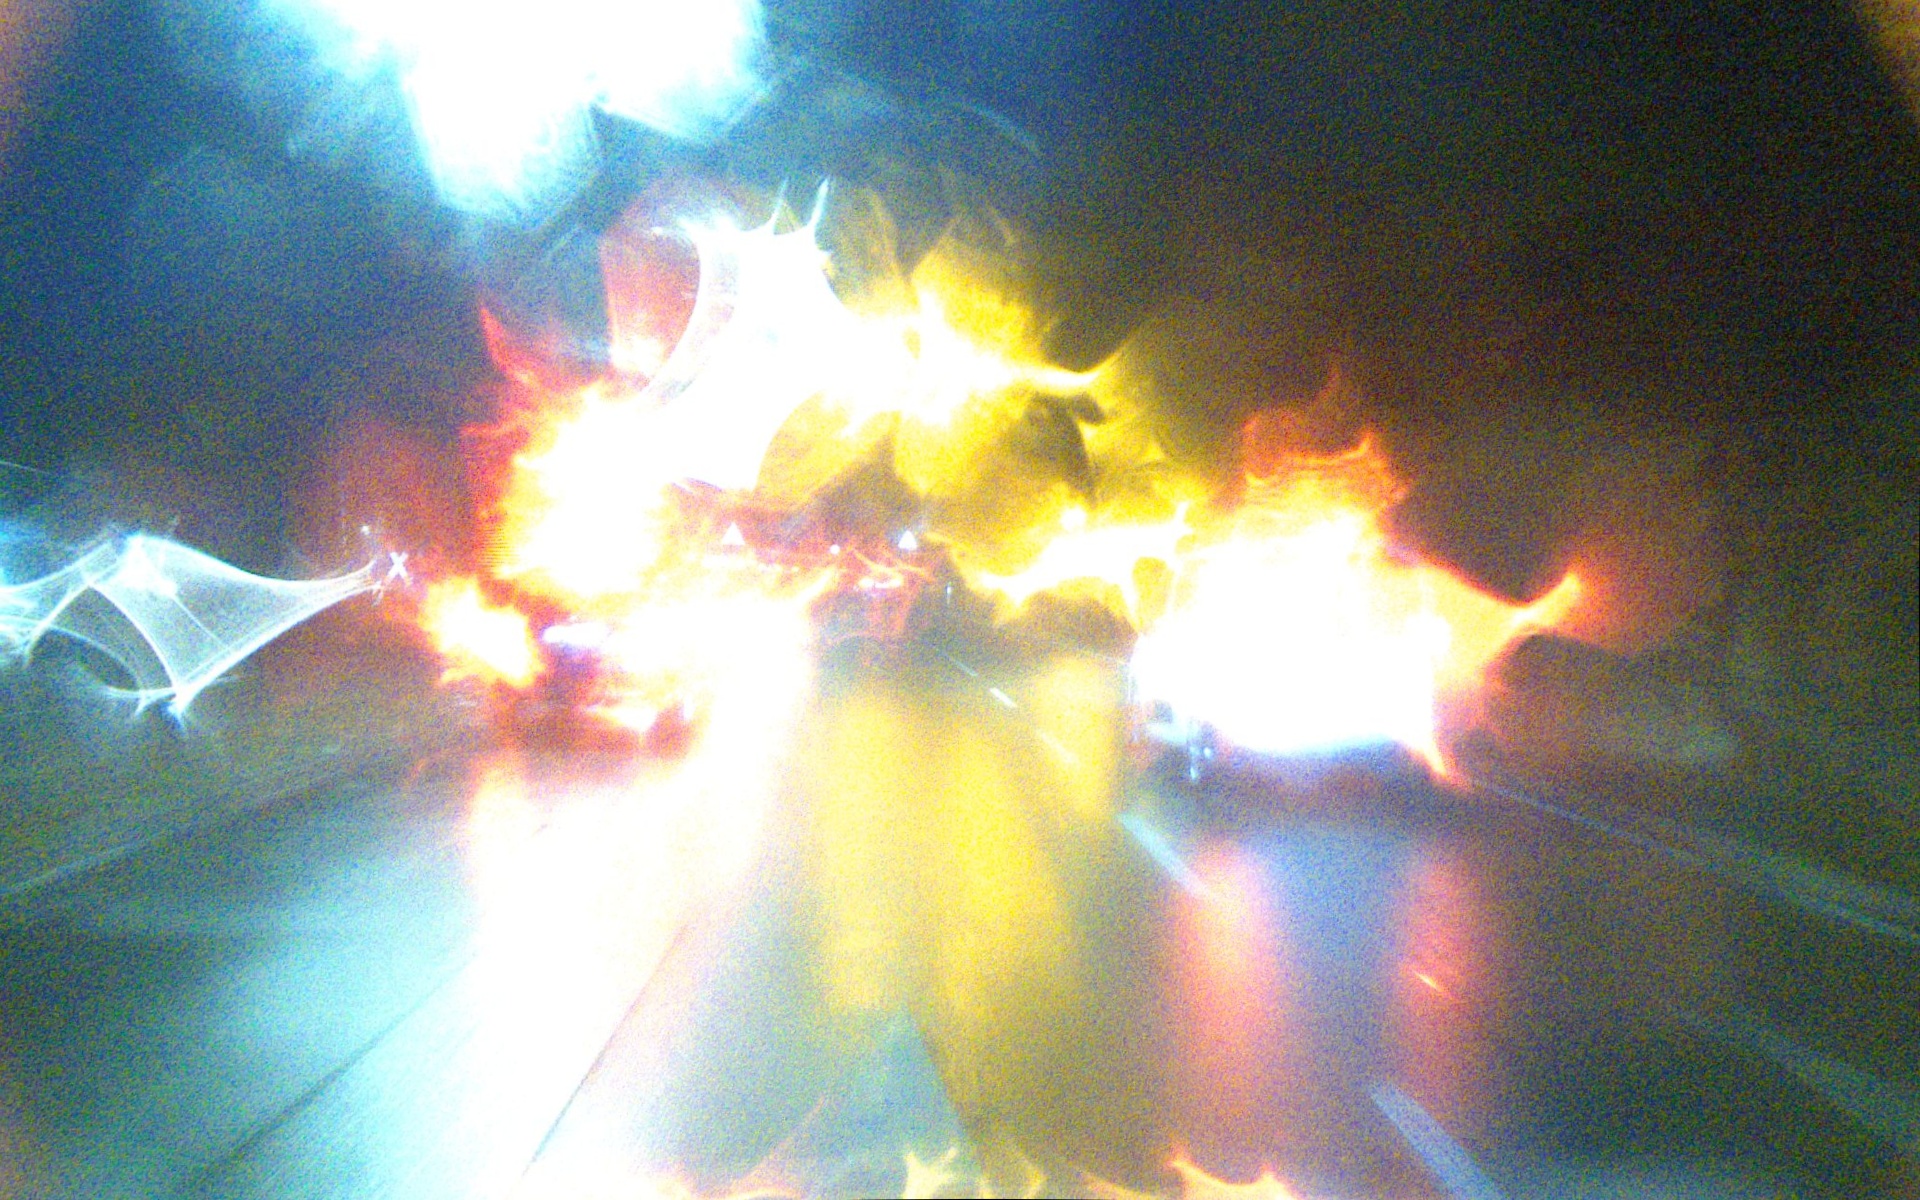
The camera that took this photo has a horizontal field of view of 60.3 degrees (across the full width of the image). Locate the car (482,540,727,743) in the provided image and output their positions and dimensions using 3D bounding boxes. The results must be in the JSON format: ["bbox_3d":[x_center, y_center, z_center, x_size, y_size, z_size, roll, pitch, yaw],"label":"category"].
[{"bbox_3d":[-3.507,0.352,17.089,1.748,1.813,4.434,0,1,-3],"label":"car"}]

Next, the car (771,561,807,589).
[{"bbox_3d":[-12.244,-1.807,118.677,1.953,1.746,4.000,5,-1,0],"label":"car"}]

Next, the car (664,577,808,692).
[{"bbox_3d":[-3.218,0.444,24.521,1.748,1.537,4.433,-1,1,-3],"label":"car"}]

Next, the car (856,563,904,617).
[{"bbox_3d":[-3.188,-0.402,65.460,1.756,2.057,4.575,1,1,-4],"label":"car"}]

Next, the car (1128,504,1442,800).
[{"bbox_3d":[2.496,0.328,13.818,1.754,2.057,4.580,0,1,1],"label":"car"}]
